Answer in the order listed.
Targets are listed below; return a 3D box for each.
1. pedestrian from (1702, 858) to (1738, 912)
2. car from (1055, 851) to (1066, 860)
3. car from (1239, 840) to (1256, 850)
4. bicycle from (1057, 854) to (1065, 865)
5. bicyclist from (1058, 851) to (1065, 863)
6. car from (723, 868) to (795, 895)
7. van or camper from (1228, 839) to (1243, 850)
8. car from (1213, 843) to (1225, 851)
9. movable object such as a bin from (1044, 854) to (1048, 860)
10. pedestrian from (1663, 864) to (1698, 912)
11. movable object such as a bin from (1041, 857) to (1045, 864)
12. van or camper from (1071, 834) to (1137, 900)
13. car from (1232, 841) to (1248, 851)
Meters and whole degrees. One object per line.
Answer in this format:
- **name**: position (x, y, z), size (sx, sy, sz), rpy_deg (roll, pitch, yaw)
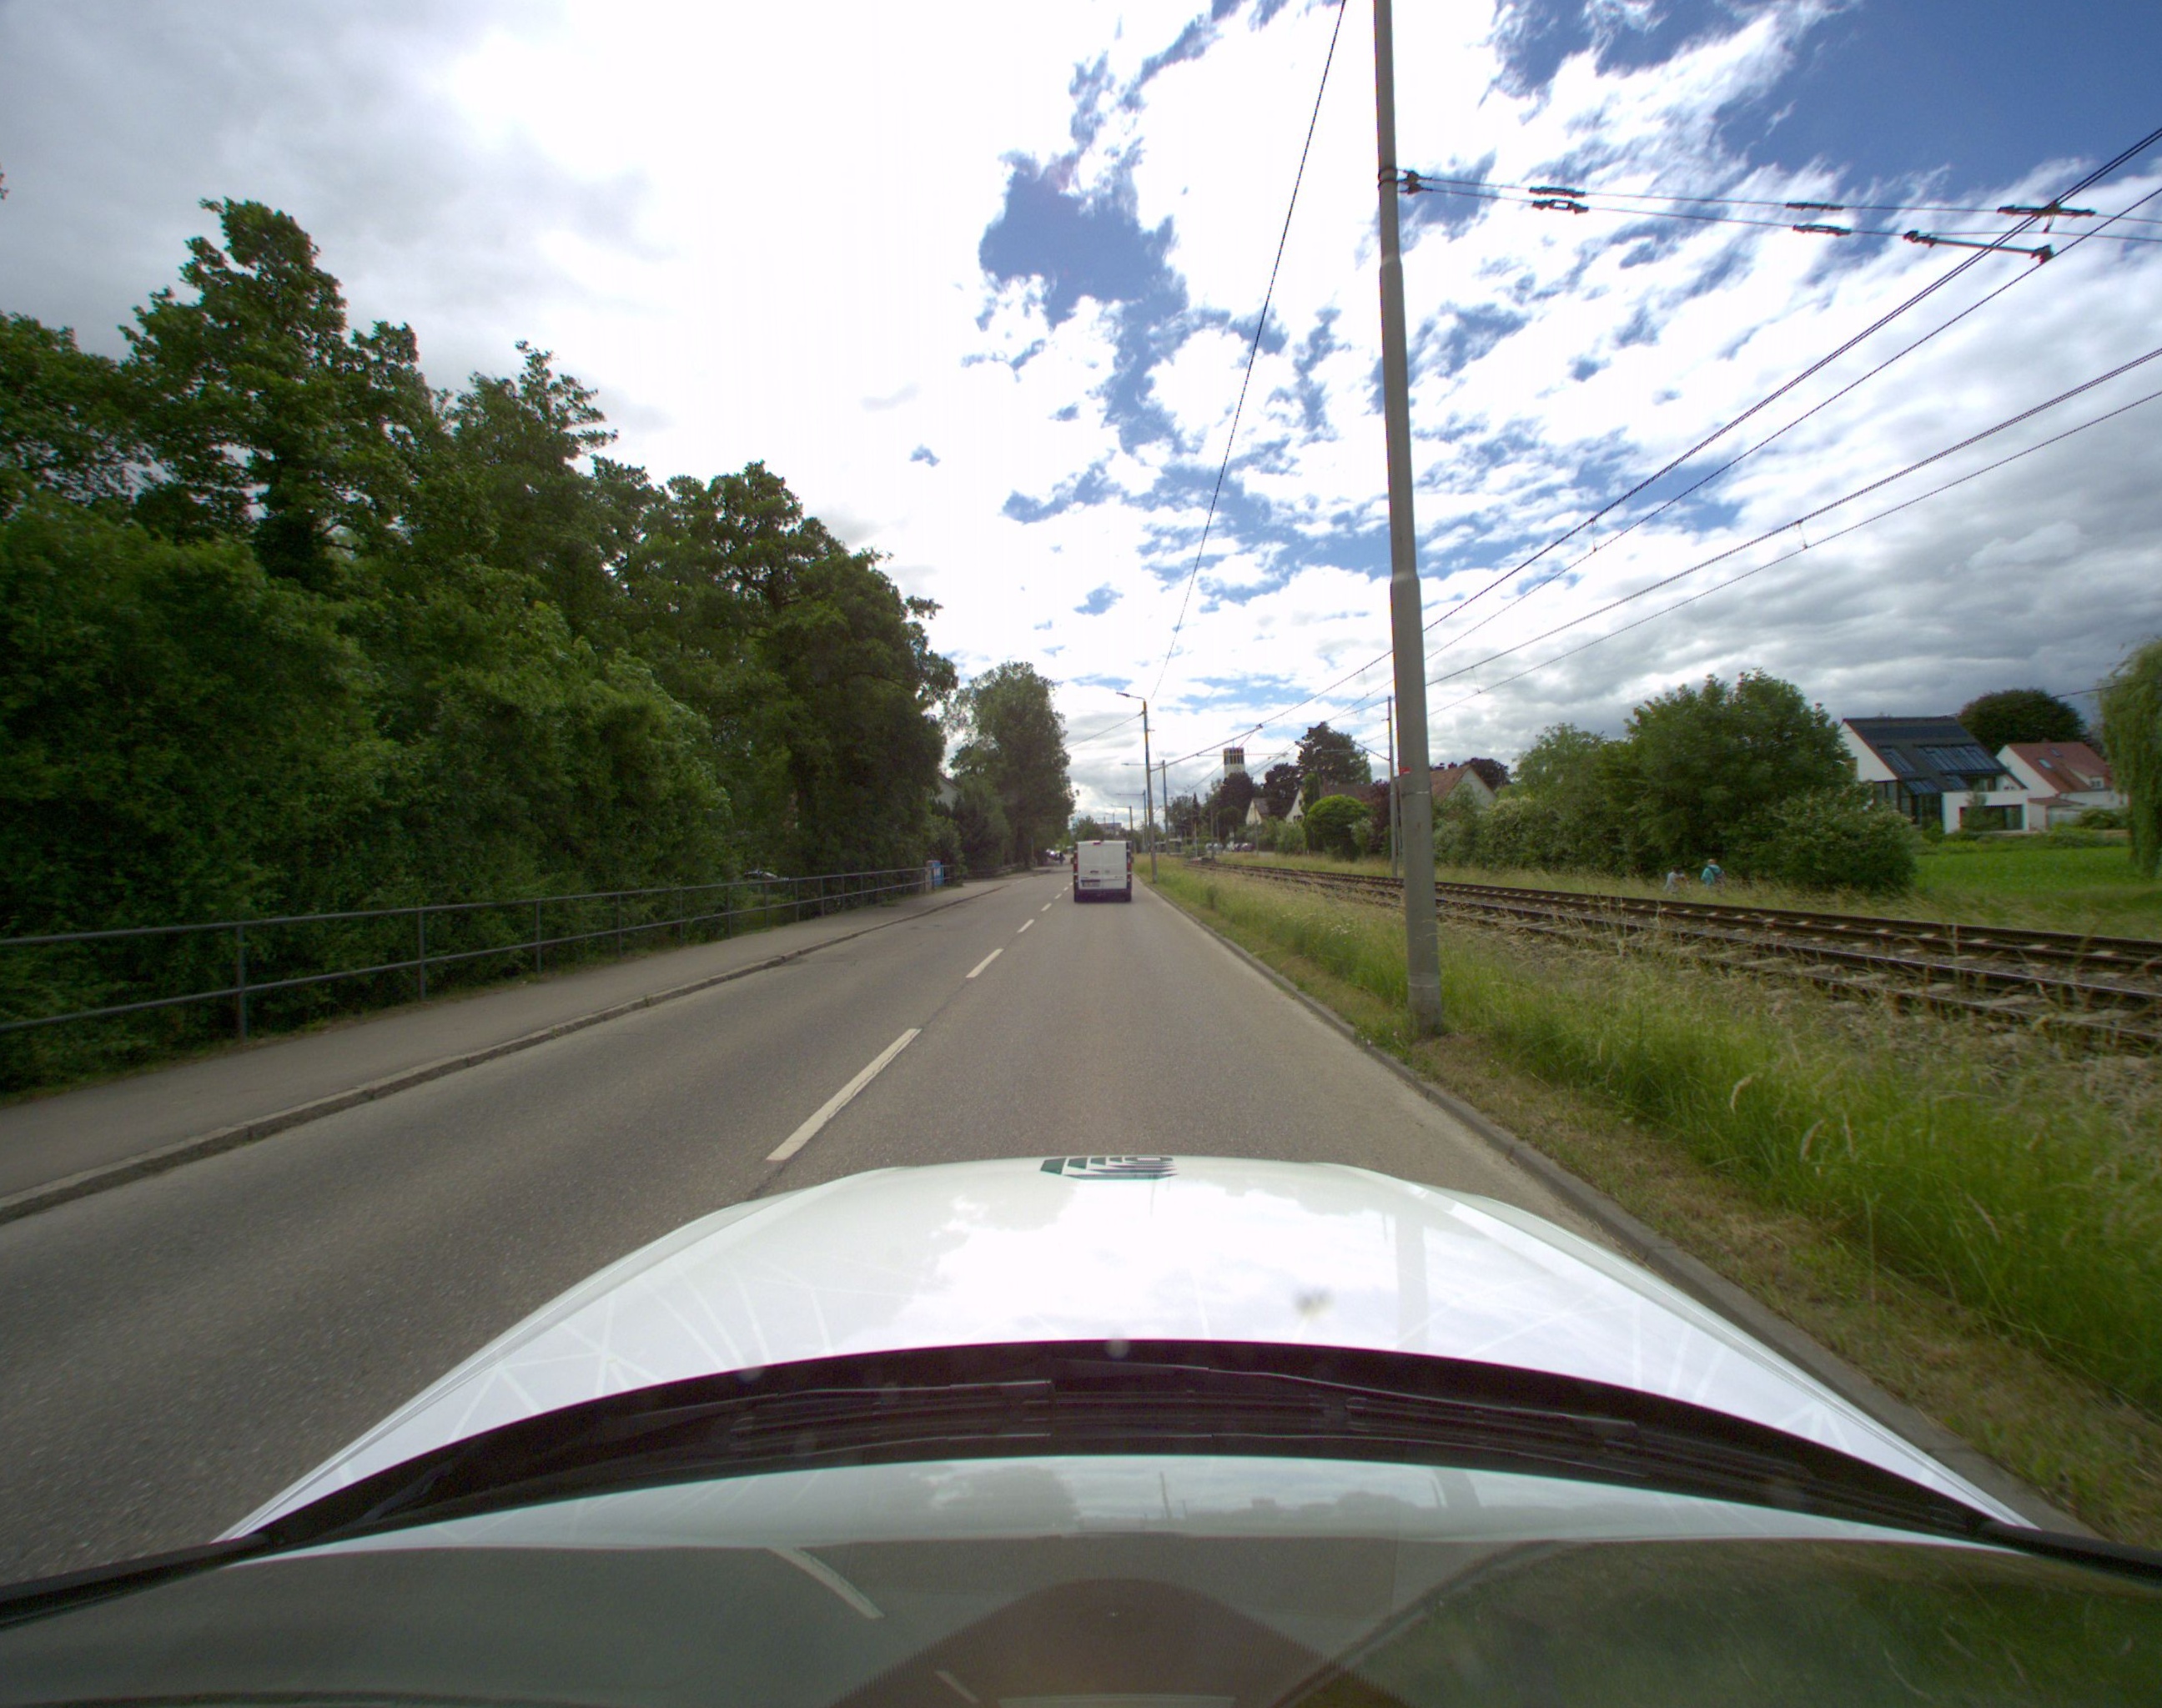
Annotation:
- **pedestrian**: position (19.344, 0.926, 24.662), size (0.614, 1.622, 0.584), rpy_deg (0, 0, 1)
- **car**: position (-3.892, 0.233, 152.777), size (1.734, 1.504, 4.470), rpy_deg (-4, 1, -5)
- **car**: position (26.588, -1.426, 130.127), size (1.876, 1.522, 4.002), rpy_deg (-2, 0, 2)
- **bicycle**: position (-2.533, 0.697, 104.160), size (0.752, 1.226, 2.309), rpy_deg (-4, 0, 1)
- **bicyclist**: position (-2.519, 0.370, 104.371), size (0.775, 1.549, 0.870), rpy_deg (-3, 0, 1)
- **car**: position (-21.406, 1.807, 54.168), size (3.972, 1.517, 1.842), rpy_deg (-3, 0, 2)
- **van or camper**: position (26.704, -1.572, 140.951), size (1.898, 1.825, 5.050), rpy_deg (-2, 0, 2)
- **car**: position (27.649, -1.368, 162.930), size (1.876, 1.522, 4.002), rpy_deg (-2, 0, 2)
- **movable object such as a bin**: position (-5.716, 0.532, 133.552), size (0.463, 0.930, 0.428), rpy_deg (1, -1, -16)
- **pedestrian**: position (18.227, 1.028, 24.779), size (0.595, 1.430, 0.667), rpy_deg (-1, 0, 4)
- **movable object such as a bin**: position (-4.951, 0.849, 106.140), size (0.512, 0.945, 0.568), rpy_deg (-1, 0, 0)
- **van or camper**: position (0.782, 0.404, 27.246), size (1.986, 2.013, 4.447), rpy_deg (-1, 0, 2)
- **car**: position (26.593, -1.388, 136.255), size (1.876, 1.522, 4.002), rpy_deg (-2, 0, 2)
